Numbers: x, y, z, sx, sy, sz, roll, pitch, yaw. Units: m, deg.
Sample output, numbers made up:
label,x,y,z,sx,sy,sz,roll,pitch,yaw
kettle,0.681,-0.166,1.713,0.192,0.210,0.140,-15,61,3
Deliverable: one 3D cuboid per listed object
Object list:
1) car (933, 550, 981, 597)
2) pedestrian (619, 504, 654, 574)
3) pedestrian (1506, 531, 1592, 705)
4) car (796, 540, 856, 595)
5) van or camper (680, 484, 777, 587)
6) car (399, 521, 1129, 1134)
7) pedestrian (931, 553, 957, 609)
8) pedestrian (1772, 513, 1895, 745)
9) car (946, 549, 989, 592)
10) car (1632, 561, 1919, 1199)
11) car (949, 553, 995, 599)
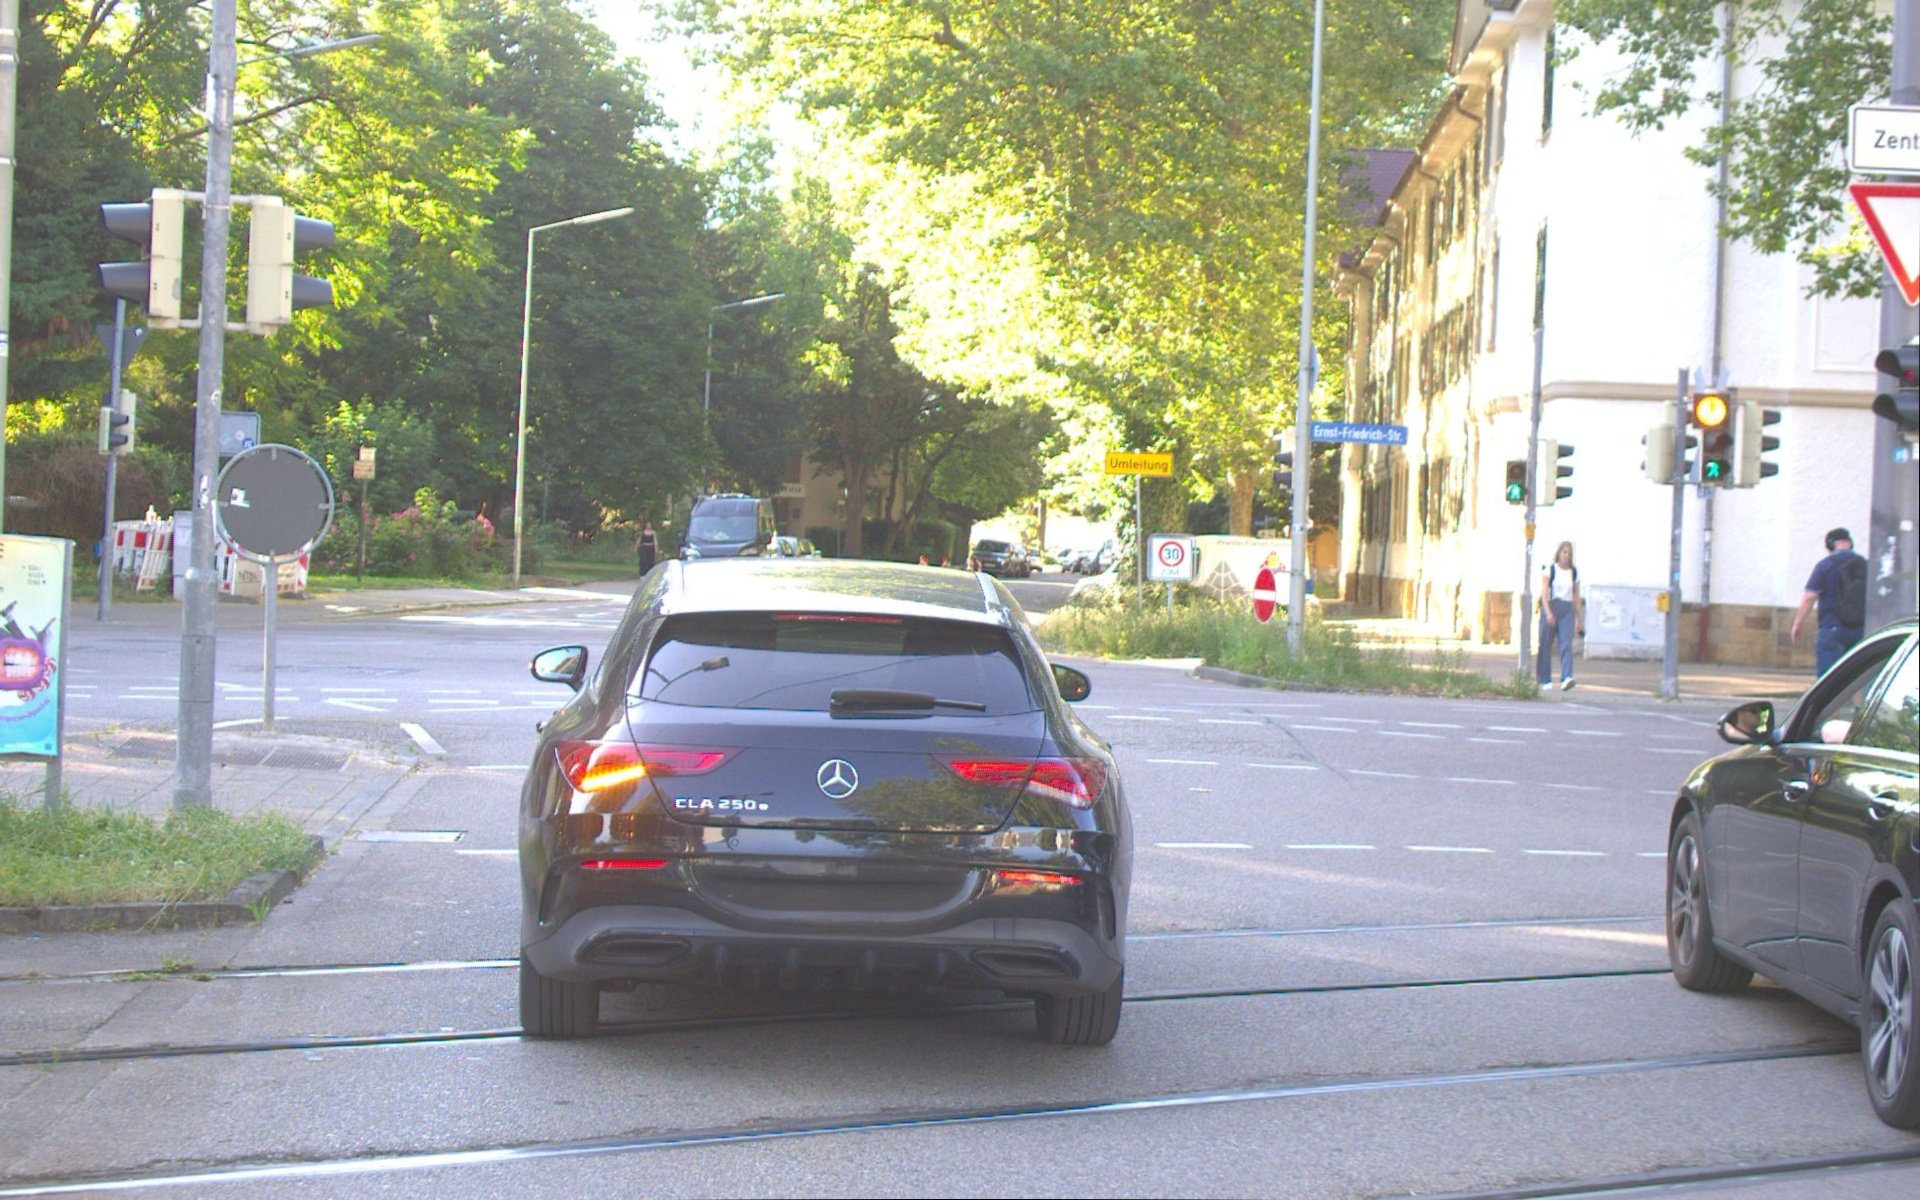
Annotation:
label,x,y,z,sx,sy,sz,roll,pitch,yaw
car,-0.100,-1.036,135.051,1.734,1.759,4.019,3,0,1
pedestrian,-9.035,-1.691,96.129,0.705,1.911,0.839,3,0,7
pedestrian,6.680,0.199,39.017,0.705,1.911,0.839,3,0,-2
car,-4.523,-1.092,116.666,1.734,1.759,3.971,3,0,1
van or camper,-6.025,-1.657,90.037,1.993,2.532,4.650,3,0,1
car,-0.443,0.562,11.203,1.890,1.445,4.000,3,3,2
pedestrian,-0.573,-0.678,120.176,0.705,1.911,0.839,3,0,-9
pedestrian,7.397,0.239,29.144,0.705,1.911,0.839,3,0,-2
car,0.344,-1.281,148.518,1.734,1.759,4.019,3,0,1
car,3.431,0.757,10.377,1.889,1.485,4.382,3,3,0
car,0.508,-0.978,140.510,1.734,1.759,4.019,3,0,1
